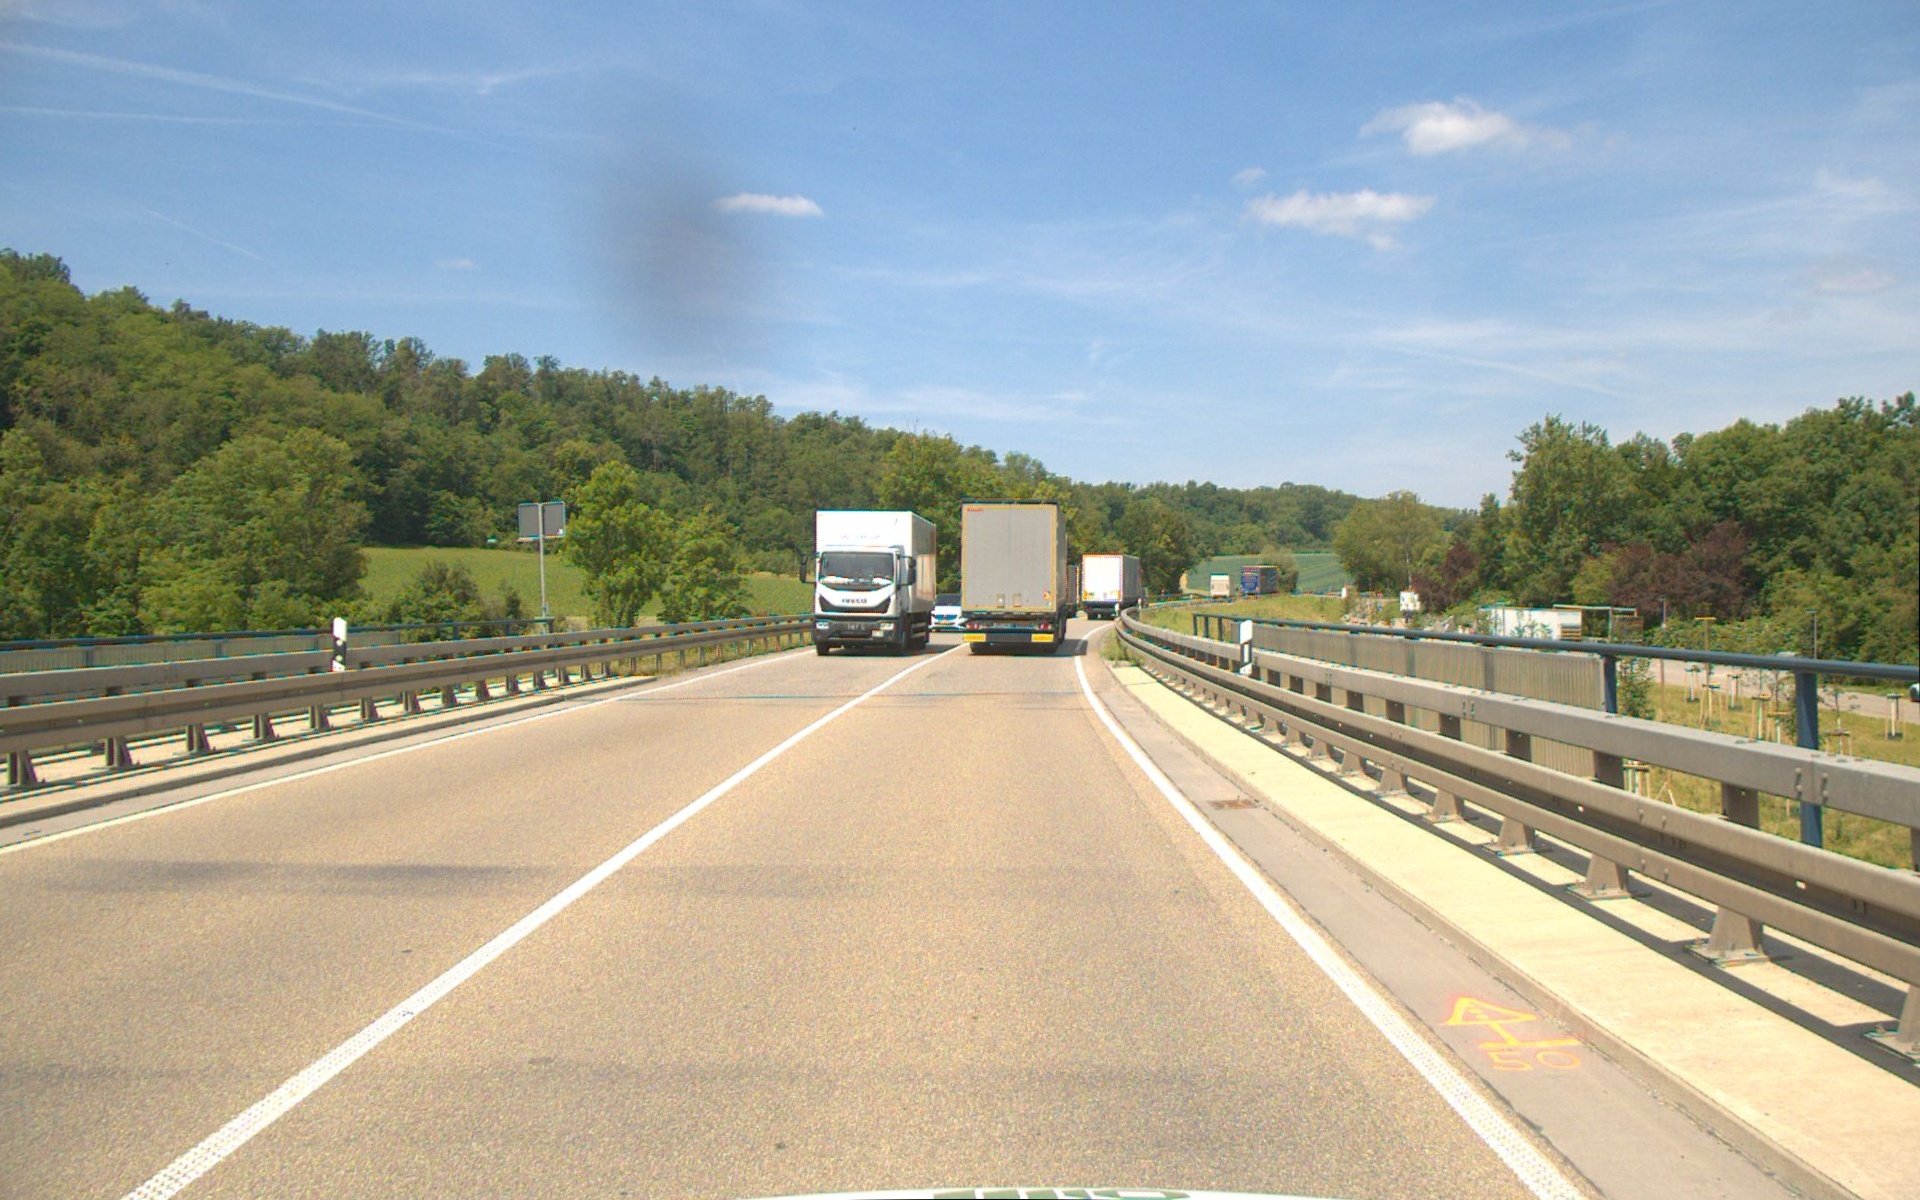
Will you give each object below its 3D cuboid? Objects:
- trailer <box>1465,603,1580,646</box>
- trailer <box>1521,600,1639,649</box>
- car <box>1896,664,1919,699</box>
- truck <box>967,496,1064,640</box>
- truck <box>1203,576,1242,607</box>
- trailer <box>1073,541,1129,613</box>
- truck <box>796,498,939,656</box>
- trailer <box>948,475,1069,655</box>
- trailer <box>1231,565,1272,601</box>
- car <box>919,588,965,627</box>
[{"bbox_3d":[47.688,2.004,140.773,2.677,3.386,11.832,0,1,-18],"label":"trailer"},{"bbox_3d":[51.627,1.955,138.215,2.675,3.669,11.841,1,1,-17],"label":"trailer"},{"bbox_3d":[47.053,3.954,79.225,1.820,1.508,4.608,-4,1,0],"label":"car"},{"bbox_3d":[1.978,-1.055,56.054,3.053,4.573,6.815,0,1,4],"label":"truck"},{"bbox_3d":[29.929,-0.924,187.935,3.154,3.424,11.883,0,0,15],"label":"truck"},{"bbox_3d":[9.296,-1.382,107.587,3.294,4.392,13.873,0,0,6],"label":"trailer"},{"bbox_3d":[-2.332,-0.616,45.526,2.853,3.870,9.712,0,0,3],"label":"truck"},{"bbox_3d":[1.622,-0.983,49.250,3.053,4.578,13.892,0,1,3],"label":"trailer"},{"bbox_3d":[37.046,-2.138,209.708,3.571,4.337,12.201,0,0,17],"label":"trailer"},{"bbox_3d":[-0.700,0.286,68.015,1.721,1.538,4.001,0,0,2],"label":"car"}]
